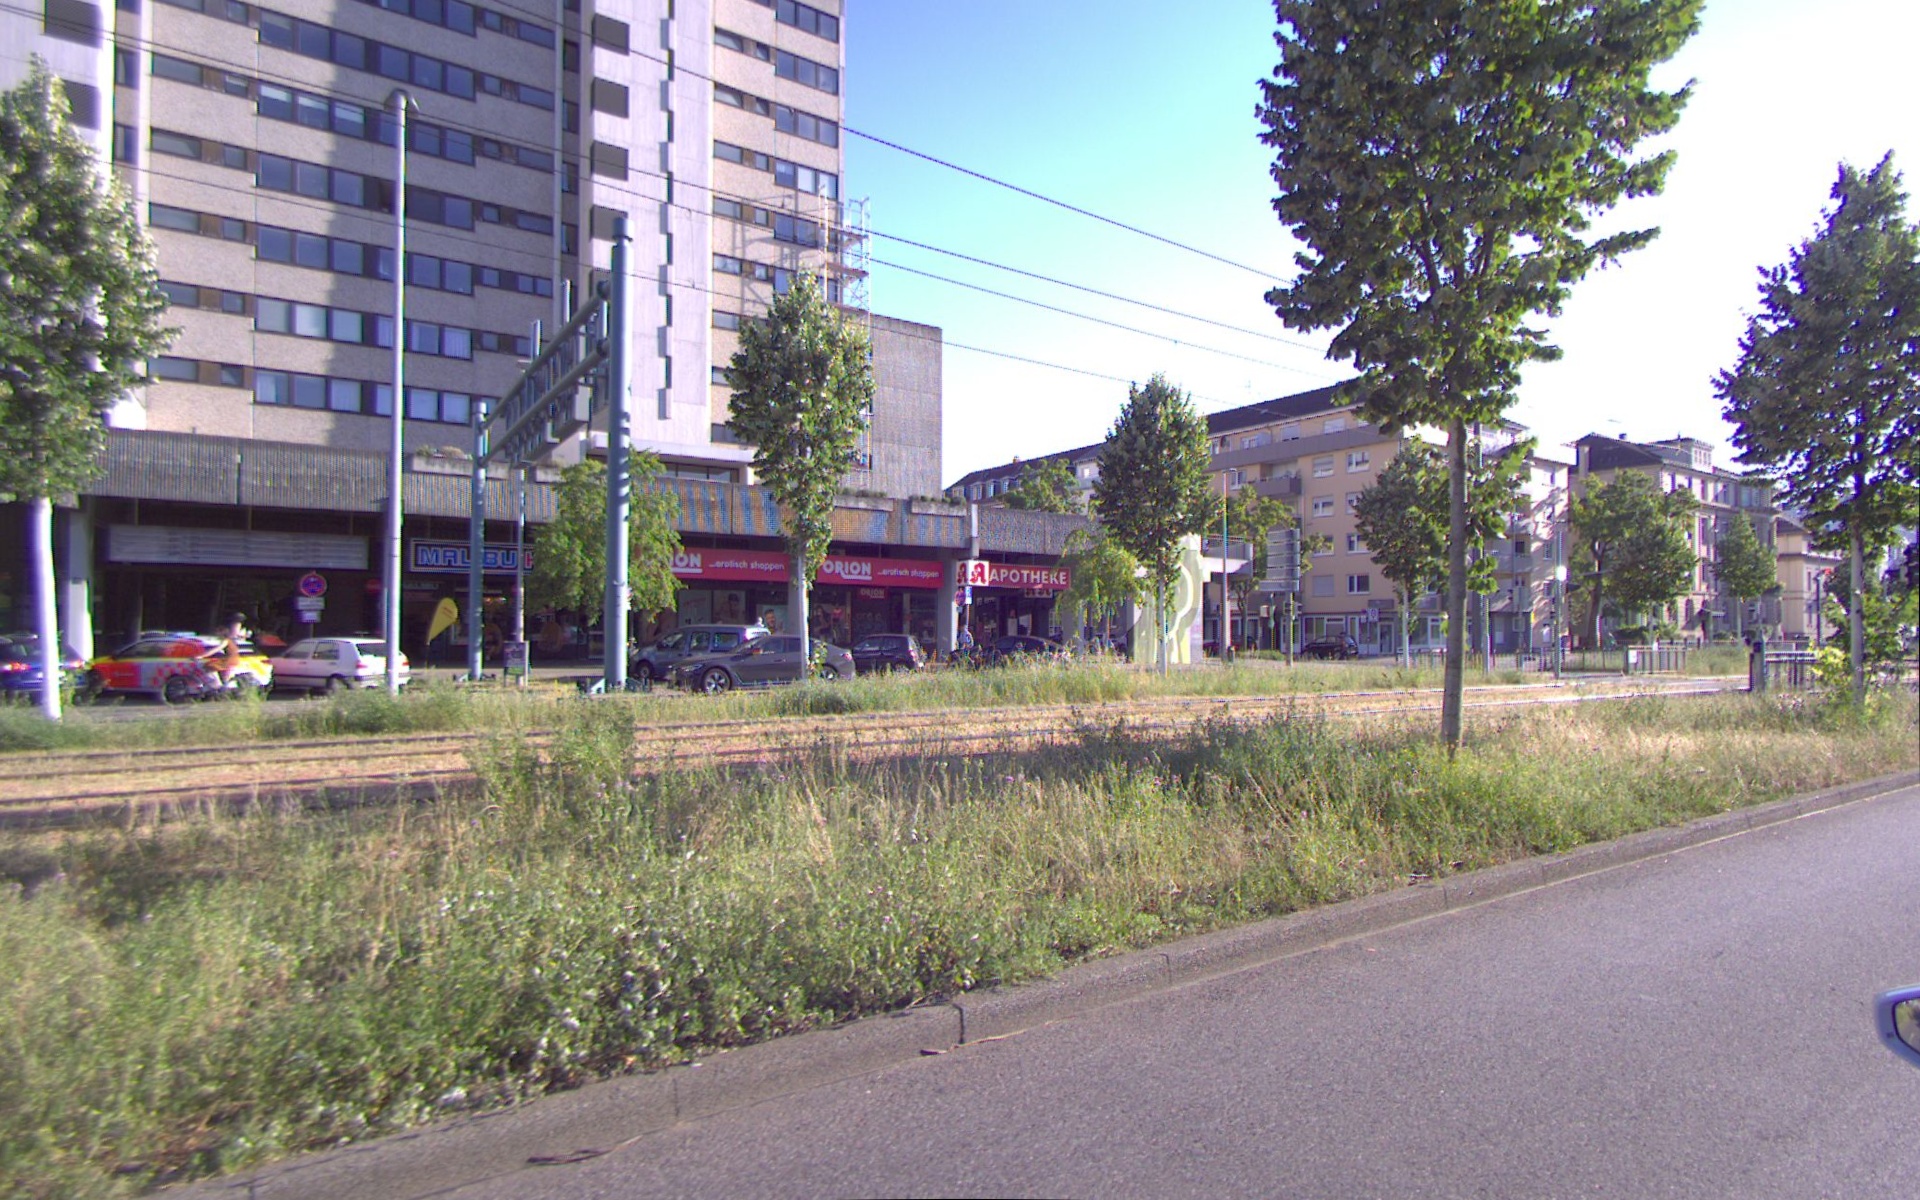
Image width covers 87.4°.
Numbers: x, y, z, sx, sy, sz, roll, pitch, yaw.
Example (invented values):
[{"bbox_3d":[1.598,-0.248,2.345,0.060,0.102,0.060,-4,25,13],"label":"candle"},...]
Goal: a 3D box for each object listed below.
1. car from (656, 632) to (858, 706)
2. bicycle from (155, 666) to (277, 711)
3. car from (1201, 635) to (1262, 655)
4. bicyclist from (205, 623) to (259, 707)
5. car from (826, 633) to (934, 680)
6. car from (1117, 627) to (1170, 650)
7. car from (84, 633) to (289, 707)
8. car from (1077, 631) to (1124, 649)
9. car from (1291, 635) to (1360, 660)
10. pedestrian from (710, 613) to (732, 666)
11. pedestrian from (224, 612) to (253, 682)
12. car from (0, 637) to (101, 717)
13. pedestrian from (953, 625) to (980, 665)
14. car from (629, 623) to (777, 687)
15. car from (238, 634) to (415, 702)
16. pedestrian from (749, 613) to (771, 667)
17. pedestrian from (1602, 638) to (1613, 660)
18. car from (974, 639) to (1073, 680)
[{"bbox_3d":[-5.022,1.683,25.104,4.591,1.609,1.858,2,0,-34],"label":"car"},{"bbox_3d":[-15.997,1.887,21.656,2.082,0.874,0.433,2,-2,-36],"label":"bicycle"},{"bbox_3d":[19.725,3.267,73.058,1.979,1.321,3.963,1,-2,-33],"label":"car"},{"bbox_3d":[-15.759,1.391,21.763,0.910,1.768,0.553,1,-2,-36],"label":"bicyclist"},{"bbox_3d":[-2.792,1.960,35.201,3.396,1.421,1.622,2,0,13],"label":"car"},{"bbox_3d":[14.657,3.091,80.486,1.979,1.766,3.963,1,-2,-33],"label":"car"},{"bbox_3d":[-18.172,1.604,23.662,3.724,1.464,1.791,2,0,11],"label":"car"},{"bbox_3d":[11.864,3.337,84.924,1.828,1.452,3.963,1,-2,-34],"label":"car"},{"bbox_3d":[24.006,3.100,66.078,1.828,1.516,3.963,1,-2,-34],"label":"car"},{"bbox_3d":[-9.258,1.541,38.928,0.648,2.040,0.544,1,-2,-34],"label":"pedestrian"},{"bbox_3d":[-21.172,1.367,29.482,0.648,2.040,0.544,1,-2,-34],"label":"pedestrian"},{"bbox_3d":[-21.118,1.571,21.577,4.455,1.464,1.622,2,0,11],"label":"car"},{"bbox_3d":[0.277,1.898,42.592,0.874,1.661,0.769,1,-2,-35],"label":"pedestrian"},{"bbox_3d":[-7.912,1.657,31.001,4.112,1.713,1.622,2,0,16],"label":"car"},{"bbox_3d":[-15.987,1.680,25.406,3.716,1.464,1.622,2,0,13],"label":"car"},{"bbox_3d":[-7.684,1.528,38.629,0.648,2.040,0.544,1,-2,-34],"label":"pedestrian"},{"bbox_3d":[47.939,3.624,74.370,0.444,1.576,0.516,1,-2,-34],"label":"pedestrian"},{"bbox_3d":[2.363,2.159,37.129,3.396,1.291,1.622,2,0,13],"label":"car"}]
